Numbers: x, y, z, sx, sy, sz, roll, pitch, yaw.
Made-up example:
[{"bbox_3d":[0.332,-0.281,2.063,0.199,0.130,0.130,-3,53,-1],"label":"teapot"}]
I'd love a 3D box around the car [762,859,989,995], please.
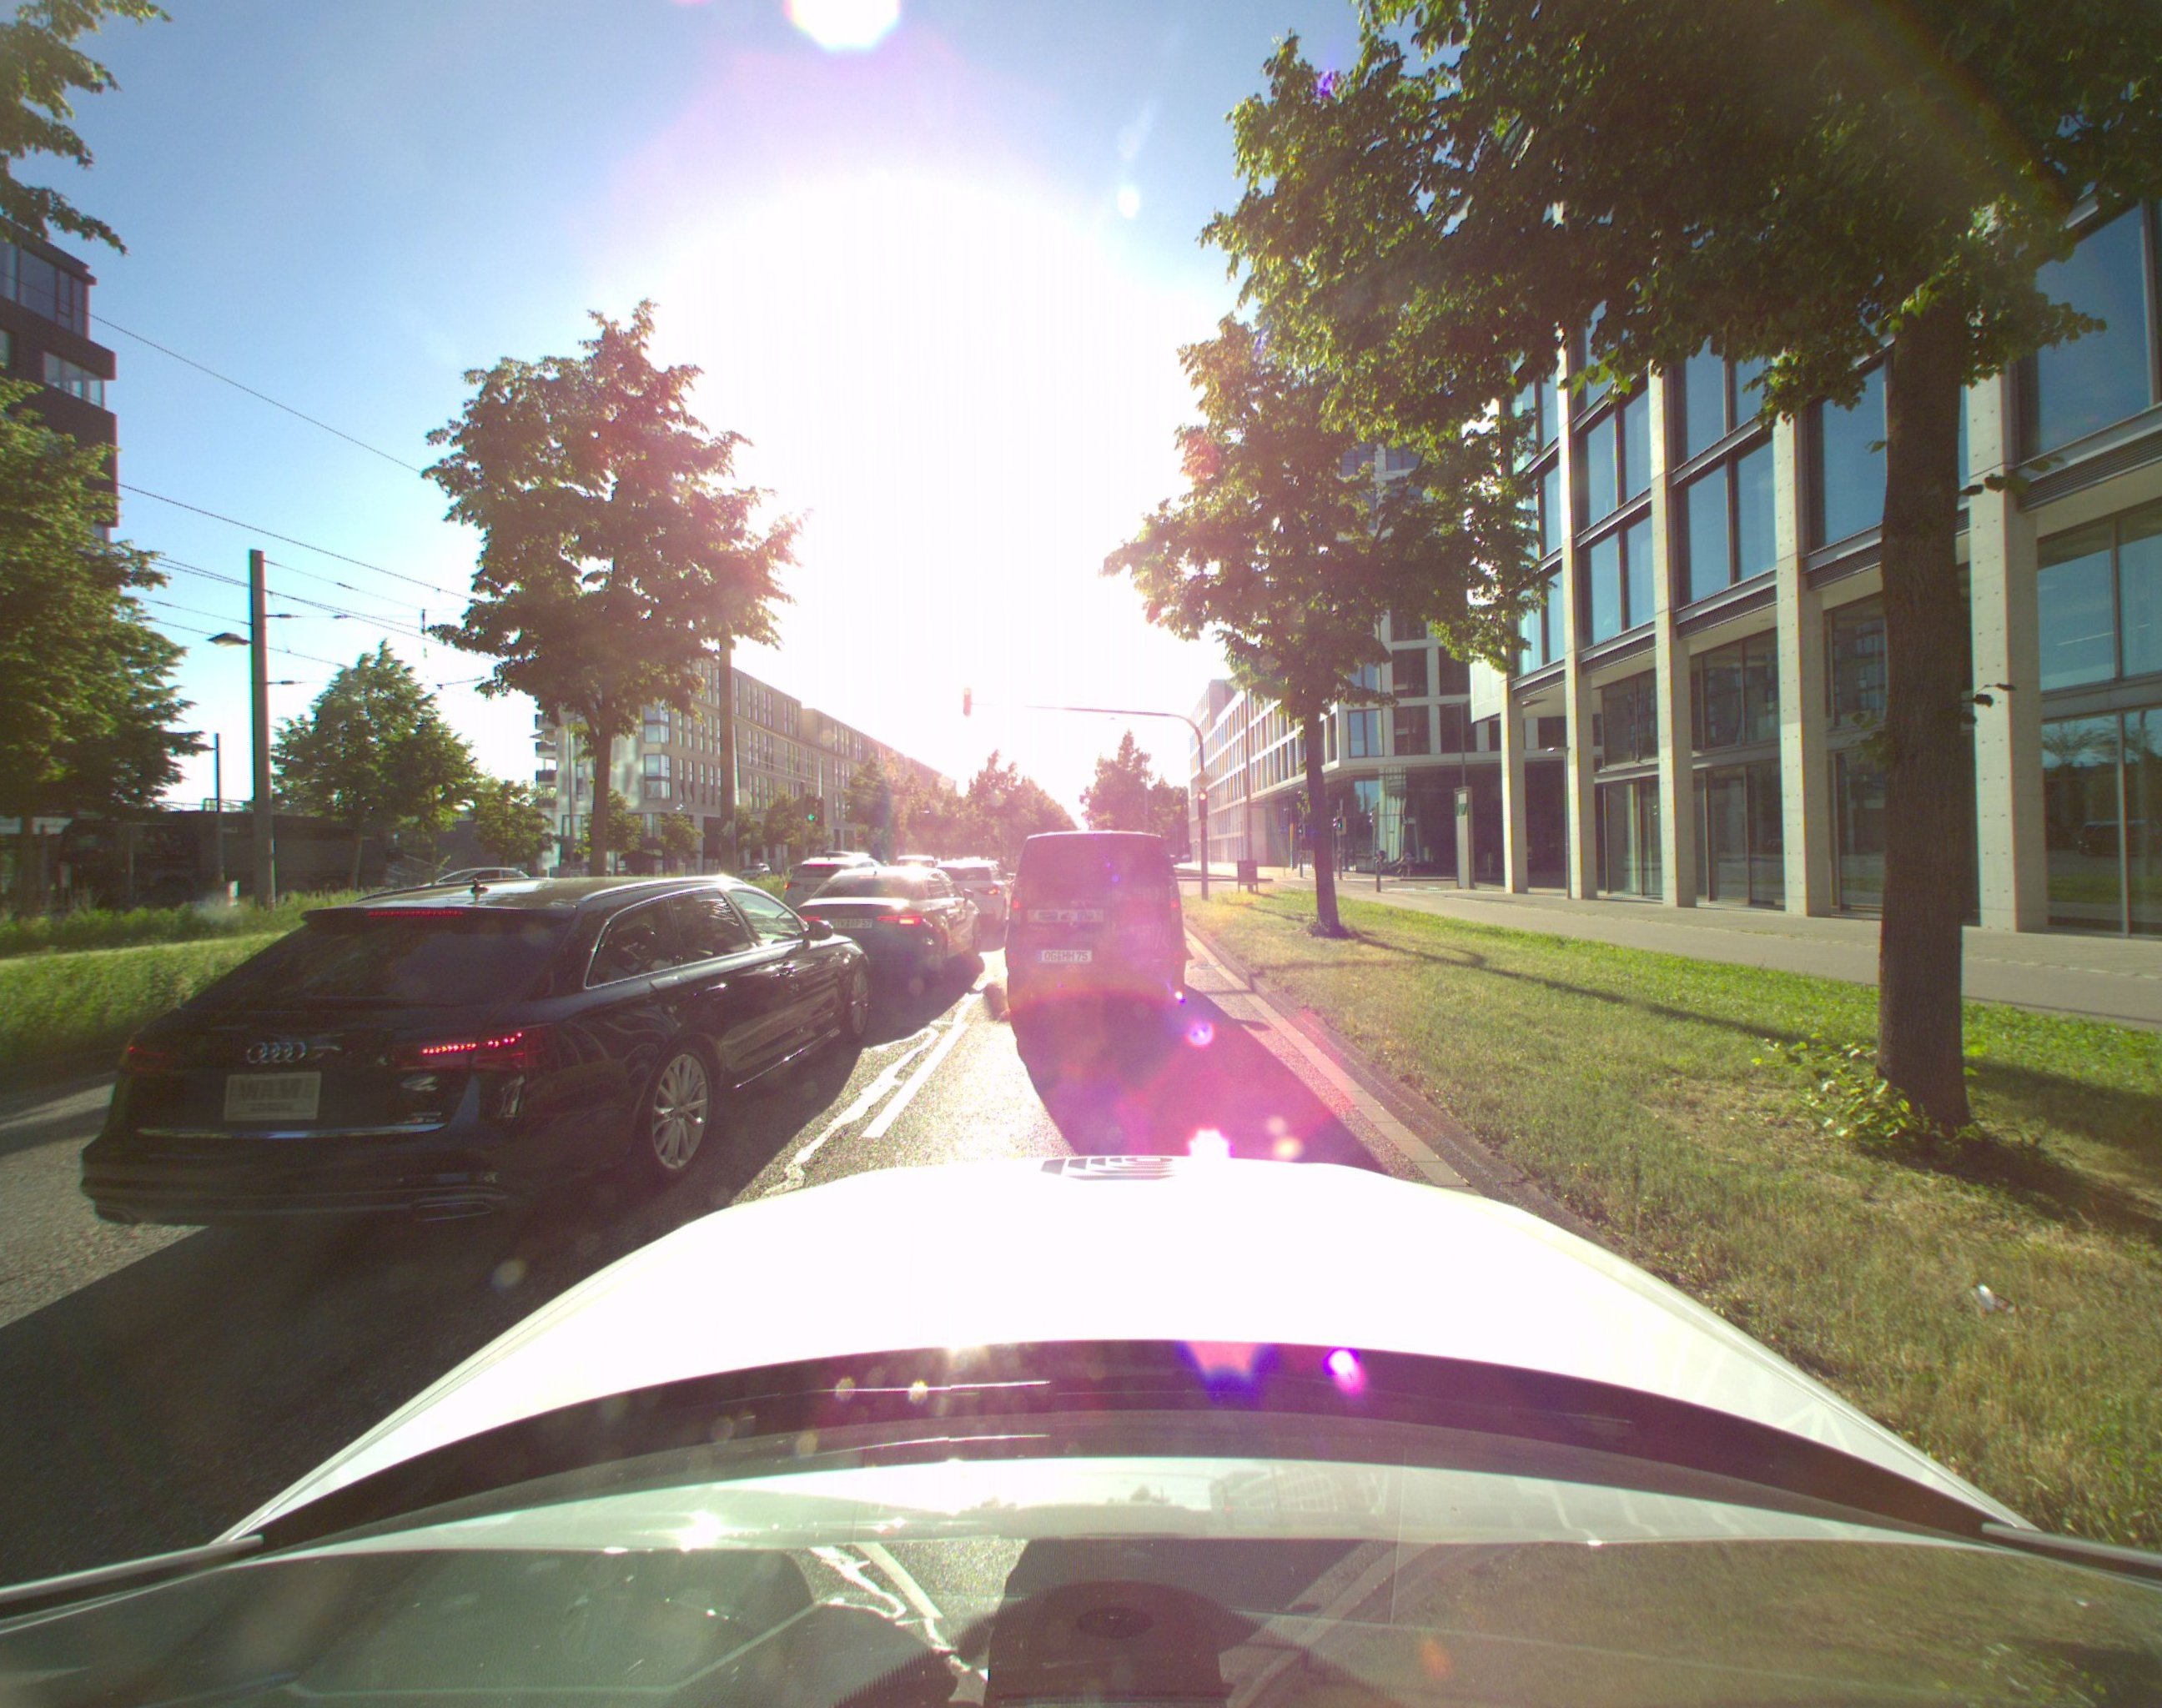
[{"bbox_3d":[-2.500,0.808,11.088,1.835,1.426,4.340,-1,0,2],"label":"car"}]

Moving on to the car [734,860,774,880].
[{"bbox_3d":[-31.801,1.541,79.238,1.986,1.814,4.372,-1,0,2],"label":"car"}]

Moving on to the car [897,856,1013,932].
[{"bbox_3d":[-2.605,0.792,17.763,1.797,1.426,3.902,-1,0,2],"label":"car"}]

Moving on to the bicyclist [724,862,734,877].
[{"bbox_3d":[-37.311,1.673,86.339,0.674,1.529,0.714,-1,0,1],"label":"bicyclist"}]

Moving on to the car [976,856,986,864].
[{"bbox_3d":[-27.436,1.571,223.806,1.986,2.013,4.002,-1,0,2],"label":"car"}]

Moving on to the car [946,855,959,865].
[{"bbox_3d":[-28.896,1.332,183.358,1.986,2.013,4.002,-1,0,2],"label":"car"}]

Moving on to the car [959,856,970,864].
[{"bbox_3d":[-28.605,1.426,200.177,1.986,2.013,4.002,-1,0,2],"label":"car"}]

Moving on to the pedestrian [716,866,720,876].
[{"bbox_3d":[-39.748,1.899,89.156,0.253,1.085,0.289,-1,0,1],"label":"pedestrian"}]

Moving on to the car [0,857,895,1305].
[{"bbox_3d":[-2.762,0.793,5.306,1.868,1.484,4.967,-1,0,1],"label":"car"}]

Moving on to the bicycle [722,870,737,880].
[{"bbox_3d":[-37.295,2.219,86.344,0.674,0.988,1.957,-1,0,2],"label":"bicycle"}]

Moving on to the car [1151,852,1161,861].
[{"bbox_3d":[16.511,0.549,179.669,1.986,1.782,4.002,-1,0,2],"label":"car"}]

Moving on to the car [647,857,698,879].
[{"bbox_3d":[-31.049,1.045,62.067,1.758,1.520,4.002,-1,0,2],"label":"car"}]

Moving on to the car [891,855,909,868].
[{"bbox_3d":[-30.585,1.279,137.449,1.986,2.013,4.002,-1,0,2],"label":"car"}]

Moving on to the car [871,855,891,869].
[{"bbox_3d":[-30.751,1.189,125.133,1.986,2.013,4.002,-1,0,2],"label":"car"}]

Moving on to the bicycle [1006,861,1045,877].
[{"bbox_3d":[-4.400,1.182,64.604,2.930,1.190,0.818,-1,0,2],"label":"bicycle"}]

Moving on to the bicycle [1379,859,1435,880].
[{"bbox_3d":[18.186,0.879,45.545,2.815,1.114,0.824,-1,0,16],"label":"bicycle"}]

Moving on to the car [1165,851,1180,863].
[{"bbox_3d":[14.321,0.436,127.718,1.986,1.782,4.002,-1,0,2],"label":"car"}]

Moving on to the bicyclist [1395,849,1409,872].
[{"bbox_3d":[17.972,0.345,45.606,0.675,1.275,0.824,-1,0,16],"label":"bicyclist"}]

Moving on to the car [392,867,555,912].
[{"bbox_3d":[-22.513,1.253,30.432,1.784,1.483,4.591,2,0,20],"label":"car"}]

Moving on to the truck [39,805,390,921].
[{"bbox_3d":[-33.636,0.297,32.639,2.880,3.853,10.218,-1,0,2],"label":"truck"}]

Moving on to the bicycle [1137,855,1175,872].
[{"bbox_3d":[5.894,0.745,63.944,2.927,1.190,0.819,-1,0,5],"label":"bicycle"}]

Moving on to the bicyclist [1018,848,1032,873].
[{"bbox_3d":[-4.429,0.513,64.623,0.994,1.947,0.818,-1,0,3],"label":"bicyclist"}]

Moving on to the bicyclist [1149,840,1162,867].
[{"bbox_3d":[5.870,-0.049,63.959,0.935,2.092,0.819,-1,0,5],"label":"bicyclist"}]

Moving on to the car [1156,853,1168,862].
[{"bbox_3d":[15.968,0.637,160.467,1.986,1.782,4.002,-1,0,2],"label":"car"}]

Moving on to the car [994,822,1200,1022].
[{"bbox_3d":[0.205,0.617,9.390,1.835,1.780,4.002,-1,0,2],"label":"car"}]

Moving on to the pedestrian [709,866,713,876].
[{"bbox_3d":[-40.581,1.914,89.356,0.253,1.085,0.260,-1,0,1],"label":"pedestrian"}]

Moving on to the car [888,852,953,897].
[{"bbox_3d":[-5.610,0.675,28.950,1.797,1.447,4.559,-1,0,-6],"label":"car"}]

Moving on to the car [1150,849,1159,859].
[{"bbox_3d":[17.896,0.031,198.170,1.986,2.497,4.988,-1,0,2],"label":"car"}]

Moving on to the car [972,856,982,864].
[{"bbox_3d":[-27.893,1.534,218.190,1.986,2.013,4.002,-1,0,2],"label":"car"}]

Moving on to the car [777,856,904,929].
[{"bbox_3d":[-5.499,0.813,19.175,1.508,1.492,4.219,-1,0,3],"label":"car"}]
